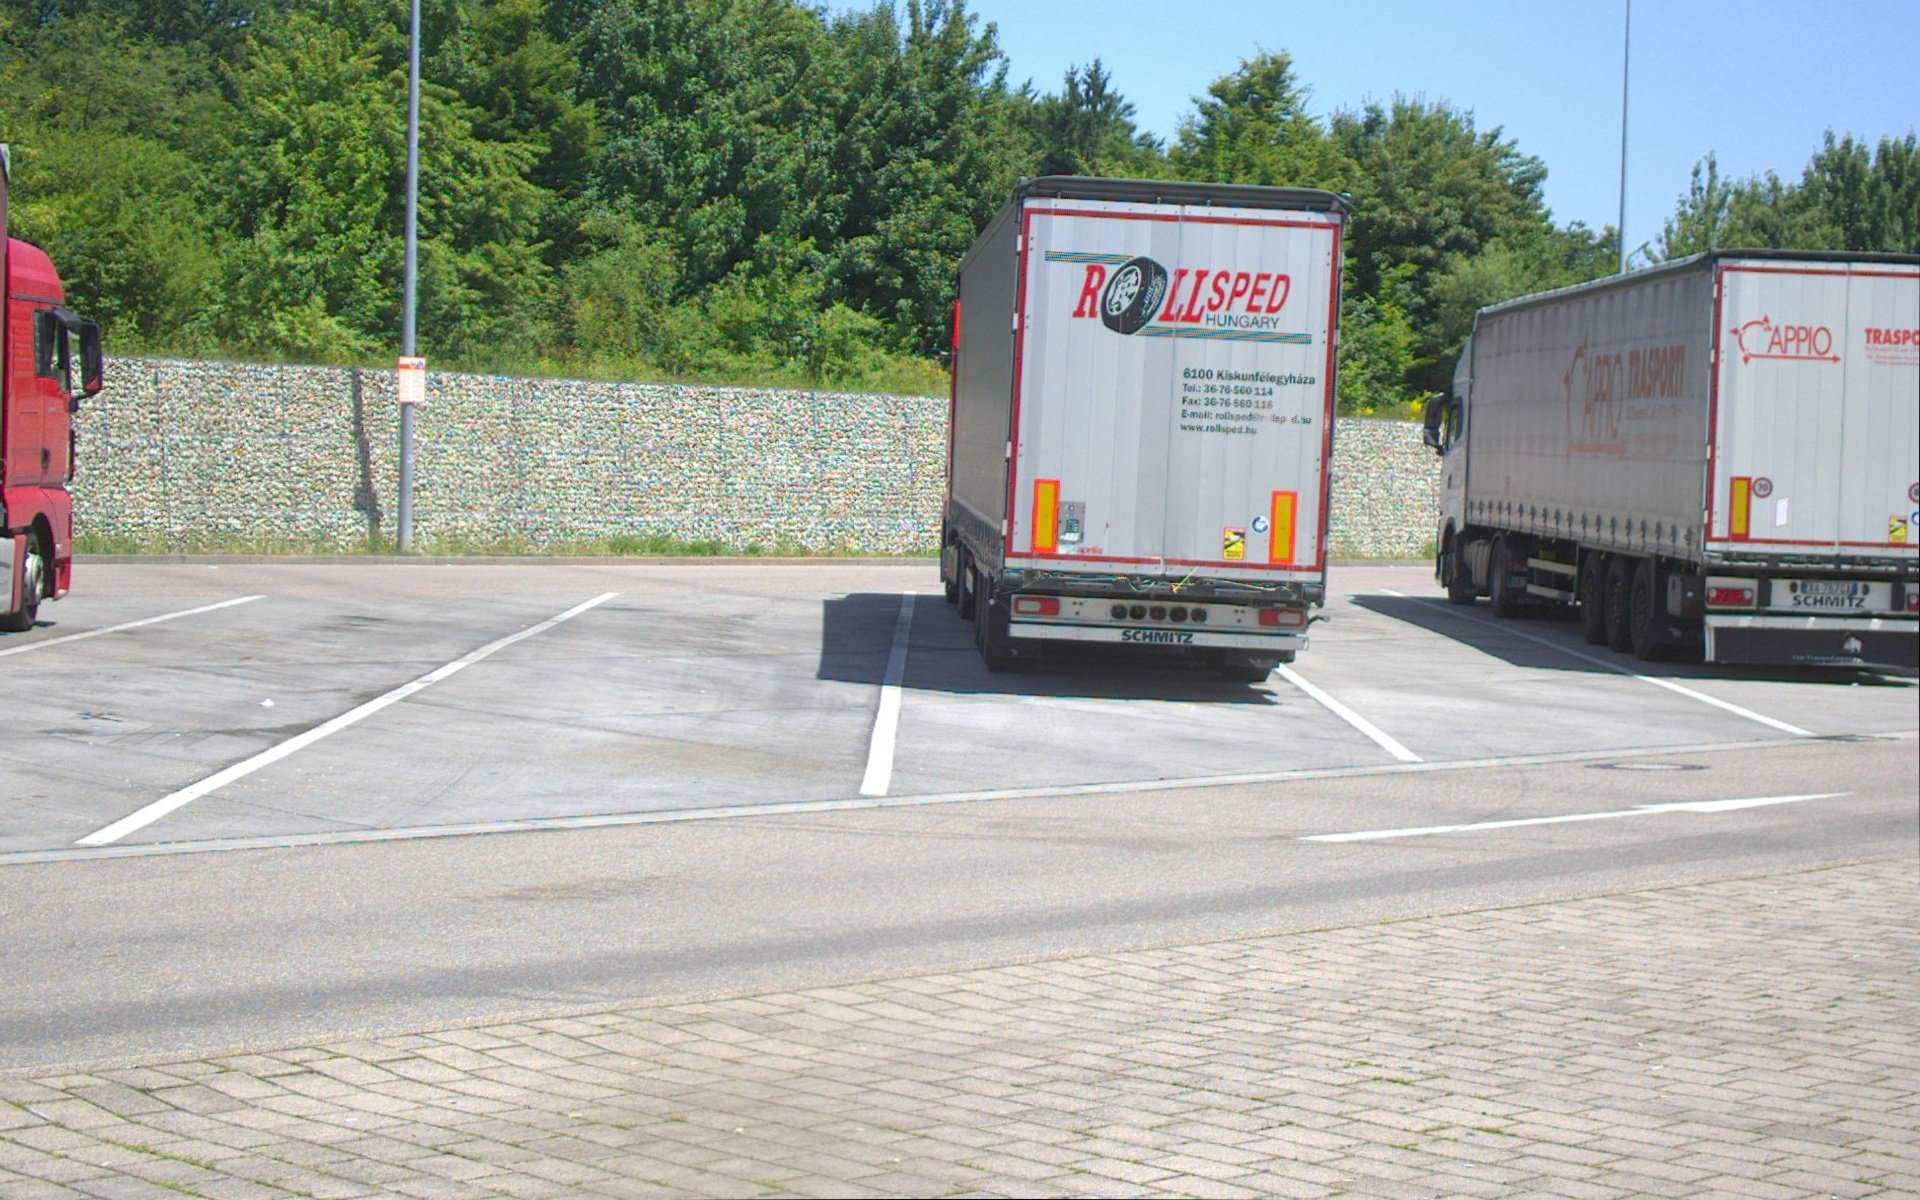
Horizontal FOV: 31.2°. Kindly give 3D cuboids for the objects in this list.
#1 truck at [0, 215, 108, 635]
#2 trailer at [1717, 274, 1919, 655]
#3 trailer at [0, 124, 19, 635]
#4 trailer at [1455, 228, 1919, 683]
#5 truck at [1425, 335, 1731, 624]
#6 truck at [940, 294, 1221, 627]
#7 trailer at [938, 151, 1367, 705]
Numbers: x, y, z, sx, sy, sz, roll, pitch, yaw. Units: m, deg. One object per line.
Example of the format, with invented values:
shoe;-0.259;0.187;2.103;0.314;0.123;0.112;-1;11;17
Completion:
truck;-9.248;-1.503;28.728;2.852;3.416;5.483;2;2;-1
trailer;11.782;-1.526;39.428;2.838;4.118;13.724;2;3;-1
trailer;-9.158;-1.488;21.289;2.906;4.118;13.725;2;3;-1
trailer;8.145;-1.624;38.675;2.838;4.118;13.724;2;3;-1
truck;8.051;-1.620;45.488;2.852;3.472;5.483;2;2;-1
truck;1.279;-1.625;39.798;2.852;3.472;5.483;2;2;-1
trailer;1.428;-1.619;33.185;2.906;4.118;13.725;2;3;-1
